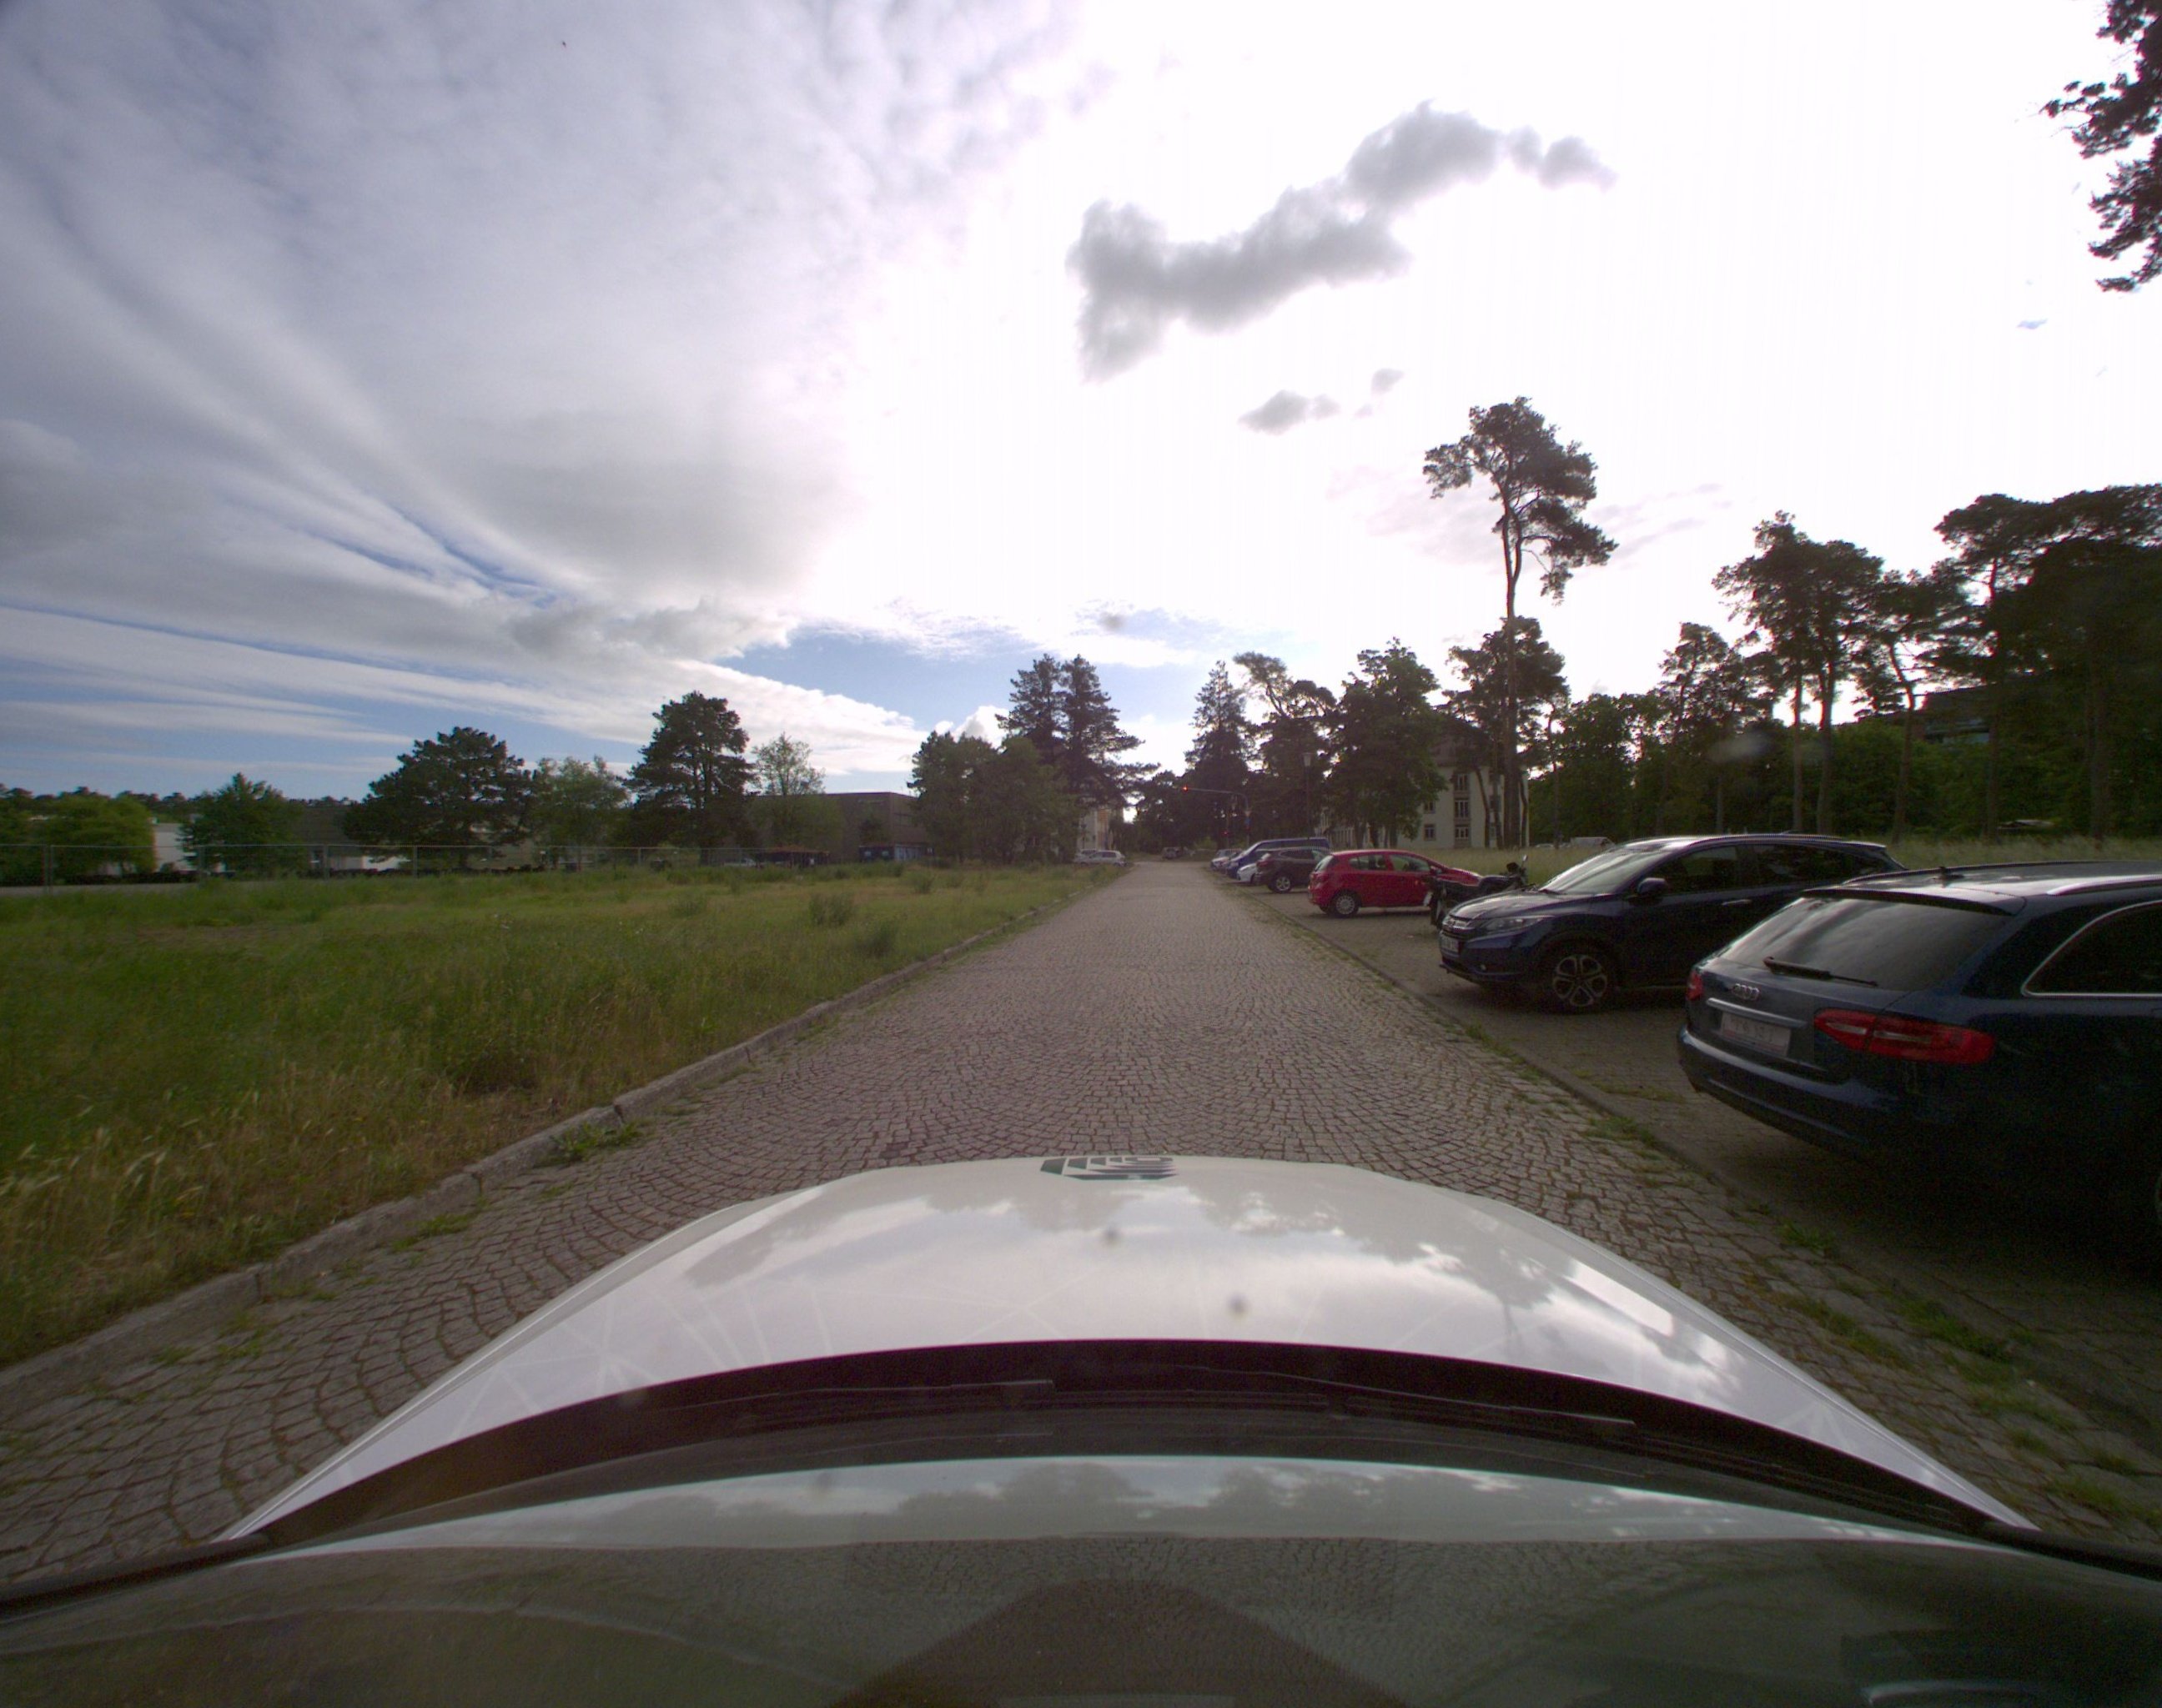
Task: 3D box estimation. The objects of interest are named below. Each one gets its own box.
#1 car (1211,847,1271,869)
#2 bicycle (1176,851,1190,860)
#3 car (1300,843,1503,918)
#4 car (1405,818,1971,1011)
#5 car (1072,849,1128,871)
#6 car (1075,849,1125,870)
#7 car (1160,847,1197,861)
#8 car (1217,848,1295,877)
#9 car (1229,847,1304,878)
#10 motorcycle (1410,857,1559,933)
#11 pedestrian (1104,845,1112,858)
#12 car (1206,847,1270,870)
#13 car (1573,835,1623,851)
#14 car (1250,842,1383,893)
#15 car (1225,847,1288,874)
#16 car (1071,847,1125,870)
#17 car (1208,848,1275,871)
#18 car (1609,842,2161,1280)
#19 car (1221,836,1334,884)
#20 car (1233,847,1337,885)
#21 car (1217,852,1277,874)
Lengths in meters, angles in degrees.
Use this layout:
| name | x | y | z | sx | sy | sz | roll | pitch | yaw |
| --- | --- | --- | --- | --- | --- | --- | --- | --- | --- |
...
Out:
| name | x | y | z | sx | sy | sz | roll | pitch | yaw |
| --- | --- | --- | --- | --- | --- | --- | --- | --- | --- |
| car | 12.002 | 0.274 | 61.203 | 4.121 | 1.463 | 1.634 | -2 | 0 | 1 |
| bicycle | 14.169 | 0.194 | 113.451 | 1.875 | 1.171 | 0.665 | 1 | 0 | 0 |
| car | 7.141 | 0.571 | 18.462 | 3.905 | 1.496 | 1.787 | -2 | 0 | 4 |
| car | 5.755 | 0.550 | 8.226 | 4.225 | 1.622 | 1.889 | -2 | 0 | 4 |
| car | 1.499 | 0.451 | 63.923 | 4.284 | 1.554 | 1.812 | -2 | 0 | 0 |
| car | 1.443 | 0.392 | 61.314 | 3.705 | 1.481 | 1.675 | 1 | 0 | 3 |
| car | 15.365 | -0.051 | 128.236 | 5.369 | 2.101 | 2.174 | -1 | 0 | -6 |
| car | 9.812 | 0.463 | 45.799 | 4.109 | 1.447 | 1.769 | -2 | 0 | 6 |
| car | 9.727 | 0.442 | 42.883 | 3.635 | 1.479 | 1.768 | -2 | 0 | 6 |
| motorcycle | 6.889 | 0.699 | 13.963 | 2.220 | 1.202 | 0.569 | -2 | 0 | 4 |
| pedestrian | 4.227 | -0.428 | 127.029 | 1.069 | 1.959 | 1.123 | 0 | 0 | 6 |
| car | 11.320 | 0.311 | 58.700 | 4.221 | 1.479 | 1.707 | -2 | 0 | -5 |
| car | 69.140 | -1.431 | 108.957 | 5.272 | 2.019 | 2.110 | 1 | 0 | 7 |
| car | 8.215 | 0.465 | 28.729 | 4.185 | 1.595 | 1.955 | -2 | 0 | 4 |
| car | 10.424 | 0.372 | 48.625 | 3.488 | 1.487 | 1.746 | -2 | 0 | 5 |
| car | 1.376 | 0.370 | 66.759 | 4.283 | 1.732 | 1.653 | -2 | 0 | 1 |
| car | 10.998 | 0.346 | 55.947 | 4.173 | 1.437 | 1.754 | -2 | 0 | -1 |
| car | 5.129 | 0.683 | 3.549 | 4.332 | 1.439 | 1.931 | -2 | 0 | 8 |
| car | 9.010 | 0.256 | 37.611 | 4.774 | 2.004 | 1.969 | -2 | 0 | 4 |
| car | 8.712 | 0.514 | 35.079 | 4.080 | 1.479 | 1.723 | -2 | 0 | 3 |
| car | 10.396 | 0.543 | 51.271 | 3.567 | 1.223 | 1.632 | -2 | 0 | 7 |
